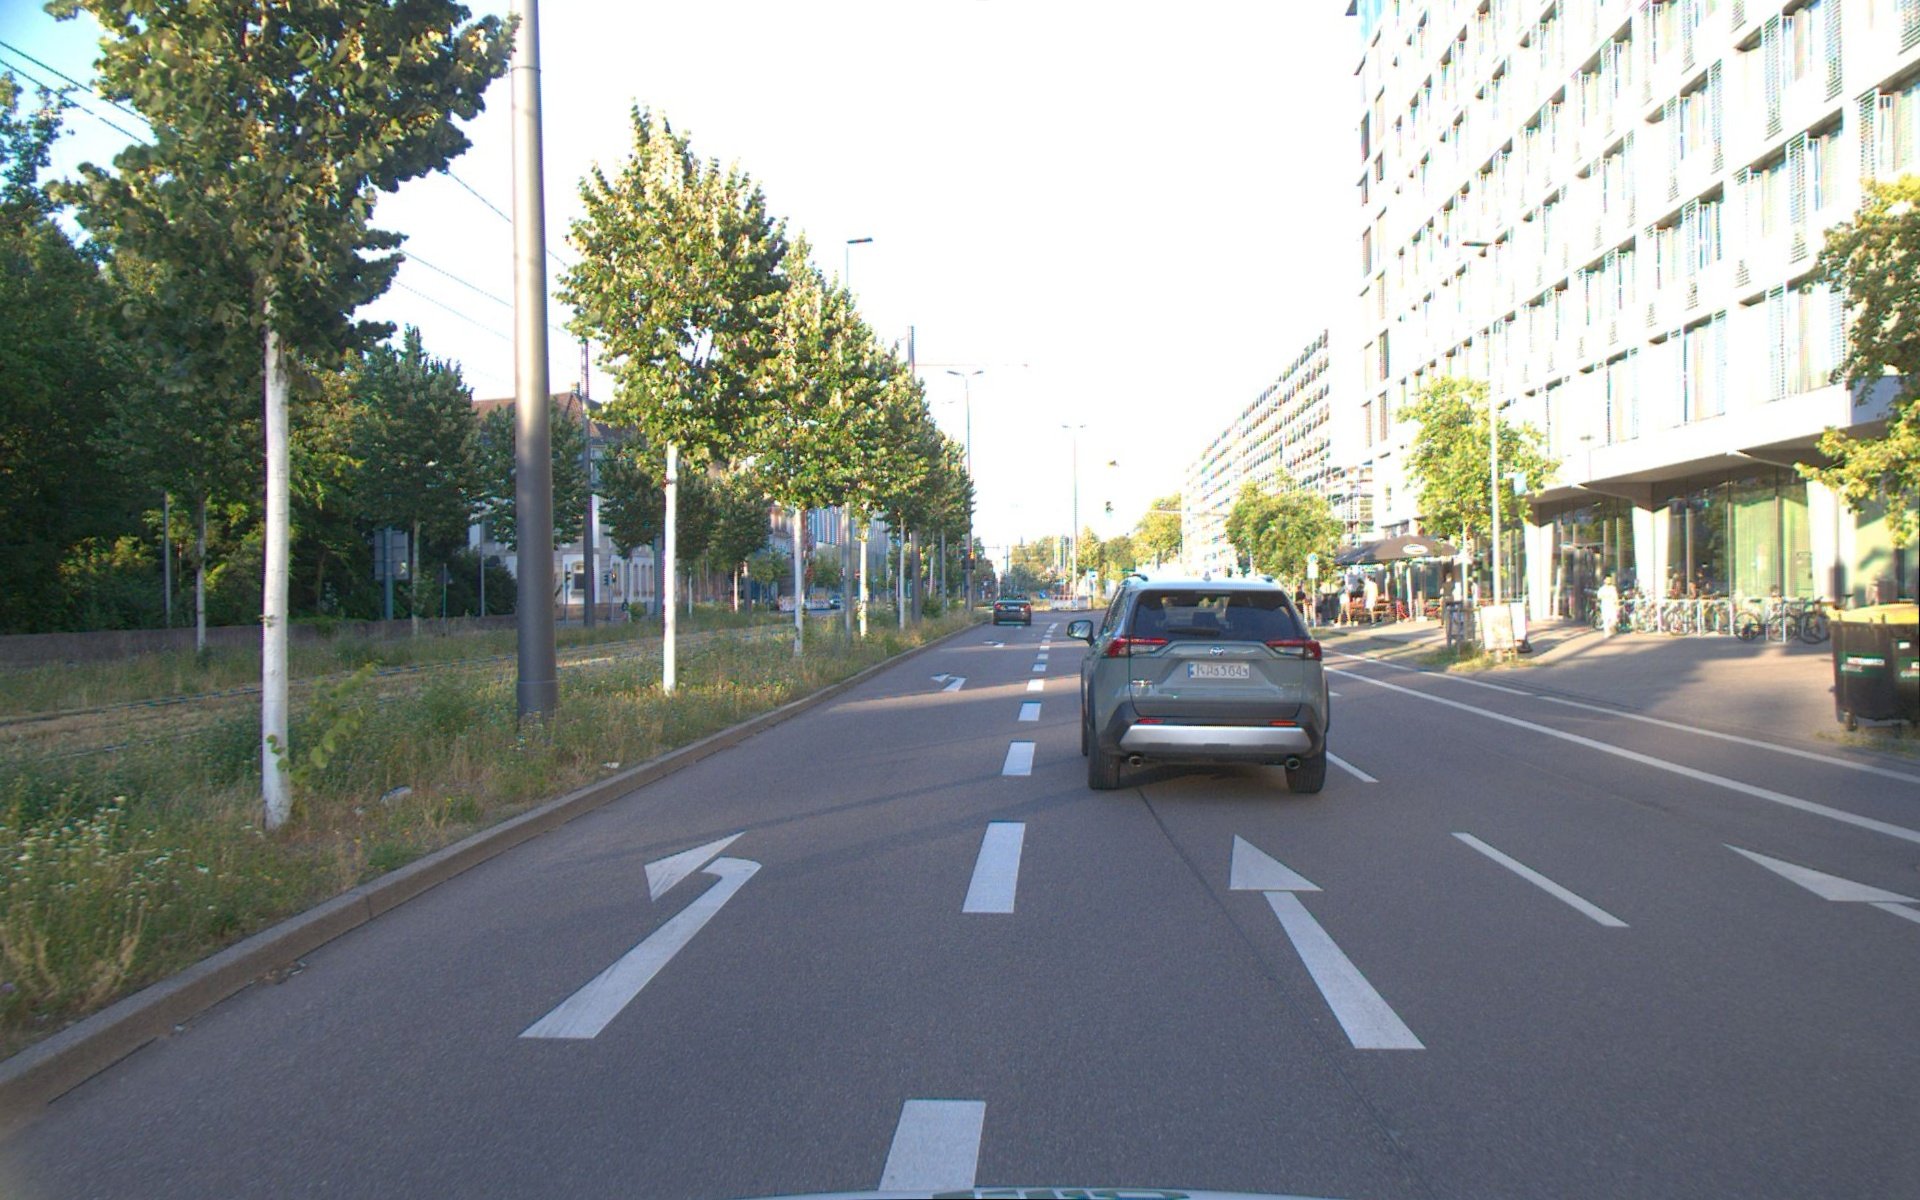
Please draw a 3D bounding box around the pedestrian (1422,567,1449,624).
[{"bbox_3d":[16.284,-0.157,56.638,0.728,1.881,0.941,-4,-1,12],"label":"pedestrian"}]

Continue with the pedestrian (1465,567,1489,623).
[{"bbox_3d":[17.662,-0.173,56.484,0.605,1.843,0.777,-4,-1,12],"label":"pedestrian"}]

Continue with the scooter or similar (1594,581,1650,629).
[{"bbox_3d":[18.279,0.128,45.680,1.242,1.254,0.608,-3,0,-1],"label":"scooter or similar"}]

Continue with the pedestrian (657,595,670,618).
[{"bbox_3d":[-22.877,0.528,127.552,0.696,1.745,0.803,1,0,-34],"label":"pedestrian"}]

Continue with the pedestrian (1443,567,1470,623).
[{"bbox_3d":[16.968,-0.168,56.516,0.740,1.856,0.941,-3,0,12],"label":"pedestrian"}]

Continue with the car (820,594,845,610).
[{"bbox_3d":[-13.455,0.182,174.572,1.952,1.607,4.126,-2,0,4],"label":"car"}]

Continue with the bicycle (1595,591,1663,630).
[{"bbox_3d":[18.722,0.292,46.297,1.665,1.003,0.551,-3,0,0],"label":"bicycle"}]

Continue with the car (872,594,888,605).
[{"bbox_3d":[-10.807,-0.073,223.164,1.623,1.456,3.897,1,1,5],"label":"car"}]

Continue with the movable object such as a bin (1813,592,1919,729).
[{"bbox_3d":[9.927,0.608,17.443,1.063,1.324,1.360,-3,0,-3],"label":"movable object such as a bin"}]

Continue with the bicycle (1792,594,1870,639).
[{"bbox_3d":[18.328,0.346,34.817,1.392,0.906,0.457,-1,0,2],"label":"bicycle"}]

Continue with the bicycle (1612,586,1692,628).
[{"bbox_3d":[18.493,0.183,44.203,1.846,1.027,0.565,-3,0,1],"label":"bicycle"}]

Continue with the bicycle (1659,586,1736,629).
[{"bbox_3d":[18.504,0.185,41.509,1.665,1.003,0.551,-3,0,0],"label":"bicycle"}]

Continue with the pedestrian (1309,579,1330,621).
[{"bbox_3d":[15.535,0.003,71.446,0.671,1.765,0.761,-3,0,3],"label":"pedestrian"}]

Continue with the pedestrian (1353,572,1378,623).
[{"bbox_3d":[15.699,-0.099,64.055,0.807,1.921,0.867,-3,-1,11],"label":"pedestrian"}]

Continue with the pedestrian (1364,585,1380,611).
[{"bbox_3d":[22.076,-0.090,88.625,0.730,1.342,0.715,-4,0,16],"label":"pedestrian"}]

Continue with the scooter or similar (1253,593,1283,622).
[{"bbox_3d":[13.558,0.326,72.891,1.185,1.222,0.480,-3,0,-2],"label":"scooter or similar"}]

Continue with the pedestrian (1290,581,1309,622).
[{"bbox_3d":[14.639,0.069,71.372,0.640,1.732,0.689,-3,0,3],"label":"pedestrian"}]

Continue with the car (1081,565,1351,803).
[{"bbox_3d":[1.990,0.577,14.005,1.796,1.701,4.284,0,1,2],"label":"car"}]

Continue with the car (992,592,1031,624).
[{"bbox_3d":[2.321,0.327,73.542,1.639,1.375,4.002,0,1,3],"label":"car"}]

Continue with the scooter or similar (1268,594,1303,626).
[{"bbox_3d":[13.442,0.424,68.261,1.267,1.239,0.535,-4,-1,27],"label":"scooter or similar"}]

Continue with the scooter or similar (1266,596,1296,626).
[{"bbox_3d":[13.524,0.464,69.657,1.104,1.235,0.532,-3,-2,19],"label":"scooter or similar"}]

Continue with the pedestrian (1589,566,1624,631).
[{"bbox_3d":[16.777,-0.050,42.932,0.564,1.647,0.643,-3,0,0],"label":"pedestrian"}]

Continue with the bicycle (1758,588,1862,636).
[{"bbox_3d":[18.760,0.269,36.524,1.975,0.974,0.620,-2,0,-3],"label":"bicycle"}]

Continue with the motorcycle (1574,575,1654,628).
[{"bbox_3d":[18.964,0.040,47.962,2.074,1.410,0.670,-3,1,-11],"label":"motorcycle"}]

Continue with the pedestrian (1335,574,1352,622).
[{"bbox_3d":[14.982,-0.068,64.615,0.564,1.817,0.829,-3,-1,11],"label":"pedestrian"}]

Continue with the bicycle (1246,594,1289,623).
[{"bbox_3d":[13.656,0.376,73.435,1.757,1.214,0.567,-3,0,-2],"label":"bicycle"}]

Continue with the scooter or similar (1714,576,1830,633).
[{"bbox_3d":[18.713,0.112,38.131,2.323,1.203,0.621,-2,0,2],"label":"scooter or similar"}]

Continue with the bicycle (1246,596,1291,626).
[{"bbox_3d":[13.381,0.459,71.757,1.808,1.202,0.608,-3,0,3],"label":"bicycle"}]
